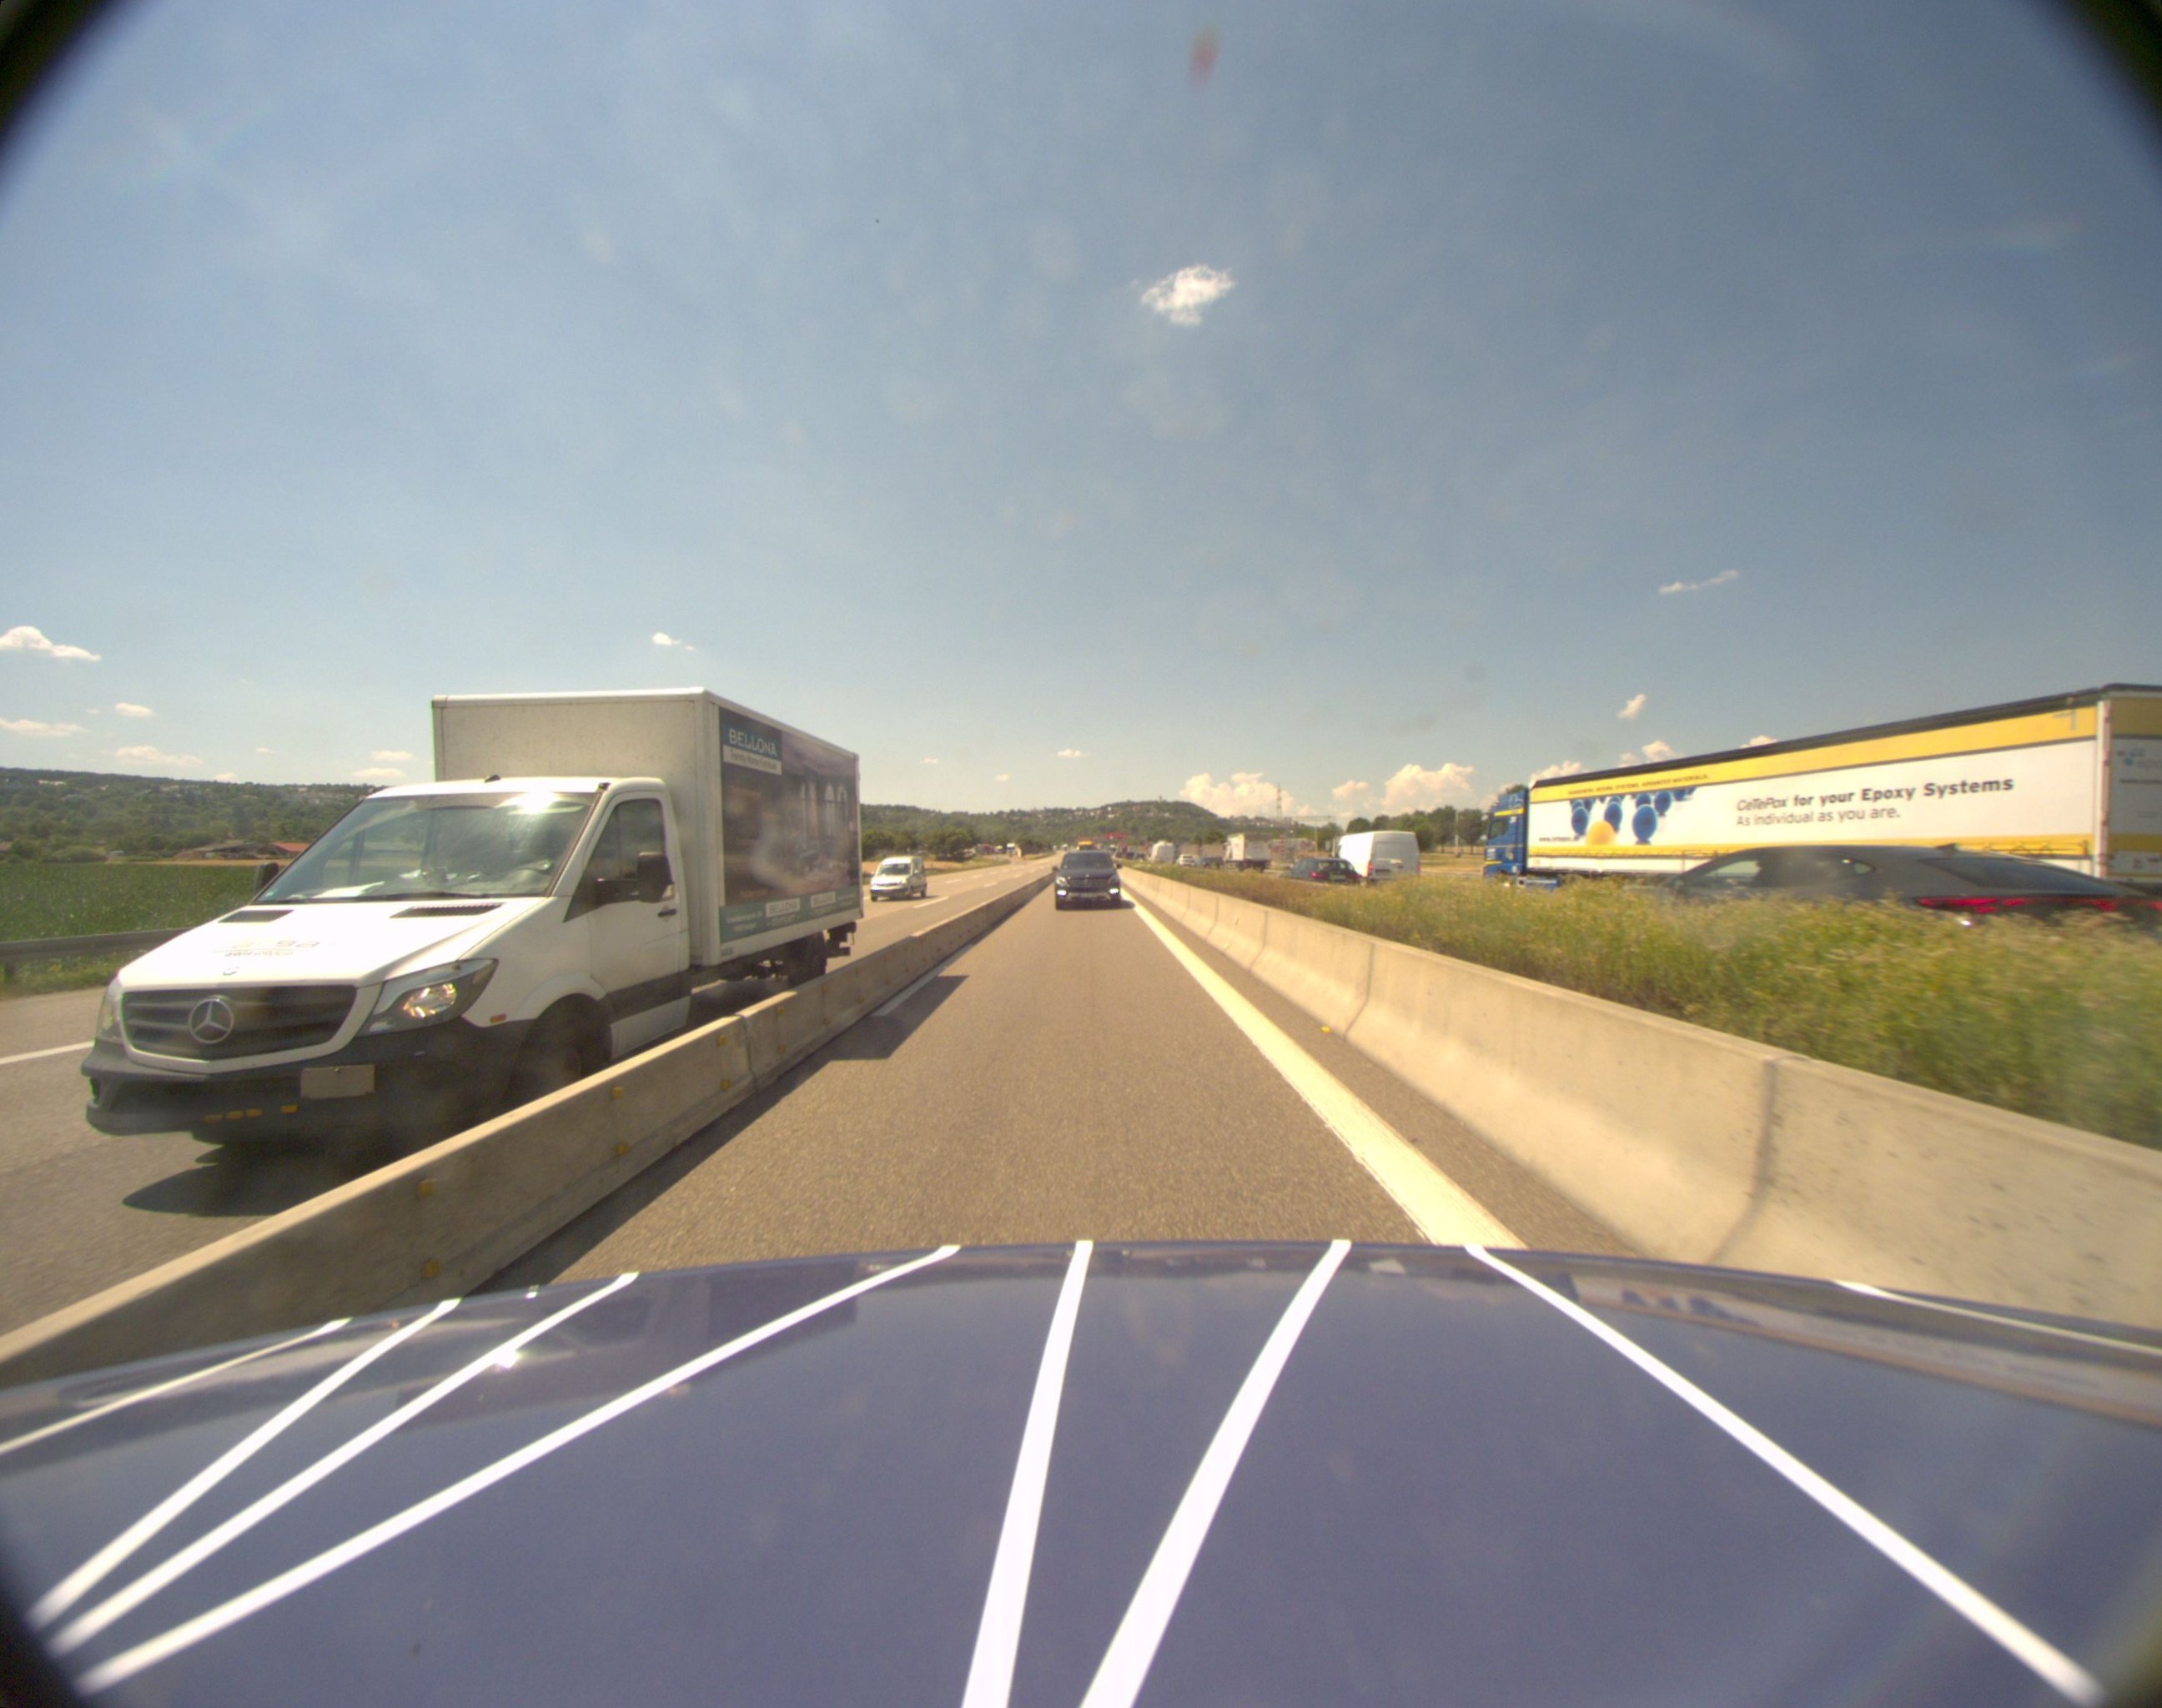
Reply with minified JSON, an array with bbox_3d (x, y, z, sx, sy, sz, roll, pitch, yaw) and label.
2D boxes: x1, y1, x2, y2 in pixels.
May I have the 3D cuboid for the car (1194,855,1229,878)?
[{"bbox_3d":[8.584,0.791,50.314,1.601,1.460,4.533,0,0,0],"label":"car"}]

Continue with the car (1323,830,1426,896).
[{"bbox_3d":[11.990,0.325,31.574,2.052,2.486,5.812,0,0,0],"label":"car"}]

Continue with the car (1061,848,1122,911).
[{"bbox_3d":[0.343,0.717,22.955,1.630,1.711,3.865,-2,0,1],"label":"car"}]

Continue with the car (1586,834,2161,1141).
[{"bbox_3d":[7.375,0.875,7.308,1.998,2.002,4.686,-1,0,1],"label":"car"}]

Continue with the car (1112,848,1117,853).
[{"bbox_3d":[10.813,-1.240,246.447,1.659,1.510,3.999,-1,1,1],"label":"car"}]

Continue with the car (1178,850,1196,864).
[{"bbox_3d":[12.885,0.351,92.336,1.563,1.613,4.044,0,0,-1],"label":"car"}]

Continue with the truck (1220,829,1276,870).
[{"bbox_3d":[16.298,-0.425,75.301,2.801,3.588,13.288,2,0,1],"label":"truck"}]

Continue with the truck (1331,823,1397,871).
[{"bbox_3d":[24.637,-0.532,66.907,2.904,3.755,13.299,2,0,10],"label":"truck"}]

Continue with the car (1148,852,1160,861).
[{"bbox_3d":[13.093,0.389,136.366,1.851,1.474,4.921,2,0,1],"label":"car"}]

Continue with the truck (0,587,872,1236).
[{"bbox_3d":[-4.116,0.304,7.037,2.326,3.049,6.751,-2,0,1],"label":"truck"}]

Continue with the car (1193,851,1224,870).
[{"bbox_3d":[11.947,0.555,71.345,1.891,1.700,5.521,1,0,-1],"label":"car"}]

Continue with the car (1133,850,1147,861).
[{"bbox_3d":[8.581,0.158,110.449,1.786,1.580,4.541,-1,0,1],"label":"car"}]

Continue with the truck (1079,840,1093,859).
[{"bbox_3d":[0.866,-0.847,131.149,2.272,3.139,8.185,-2,1,1],"label":"truck"}]

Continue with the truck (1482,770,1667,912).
[{"bbox_3d":[15.576,-0.362,24.434,2.817,4.104,4.841,0,0,0],"label":"truck"}]

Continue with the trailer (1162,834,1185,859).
[{"bbox_3d":[17.118,-1.330,141.542,2.900,4.349,12.992,1,0,1],"label":"trailer"}]

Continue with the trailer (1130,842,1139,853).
[{"bbox_3d":[18.122,-2.276,256.786,2.654,3.851,6.616,0,1,1],"label":"trailer"}]

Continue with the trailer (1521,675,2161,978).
[{"bbox_3d":[15.535,-0.363,17.363,2.817,4.104,14.129,0,0,0],"label":"trailer"}]

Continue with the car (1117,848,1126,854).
[{"bbox_3d":[10.048,-0.743,188.129,1.895,1.608,4.820,-1,1,0],"label":"car"}]

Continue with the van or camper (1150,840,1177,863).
[{"bbox_3d":[8.700,-0.274,80.575,2.041,2.208,7.207,-2,0,0],"label":"van or camper"}]

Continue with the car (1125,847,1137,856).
[{"bbox_3d":[9.132,-0.444,139.338,1.848,1.560,5.344,-1,0,1],"label":"car"}]

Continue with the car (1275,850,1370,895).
[{"bbox_3d":[8.474,0.599,27.130,1.783,1.327,4.928,-2,1,0],"label":"car"}]

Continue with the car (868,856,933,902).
[{"bbox_3d":[-7.390,0.975,31.493,1.630,1.726,3.973,-2,0,1],"label":"car"}]
